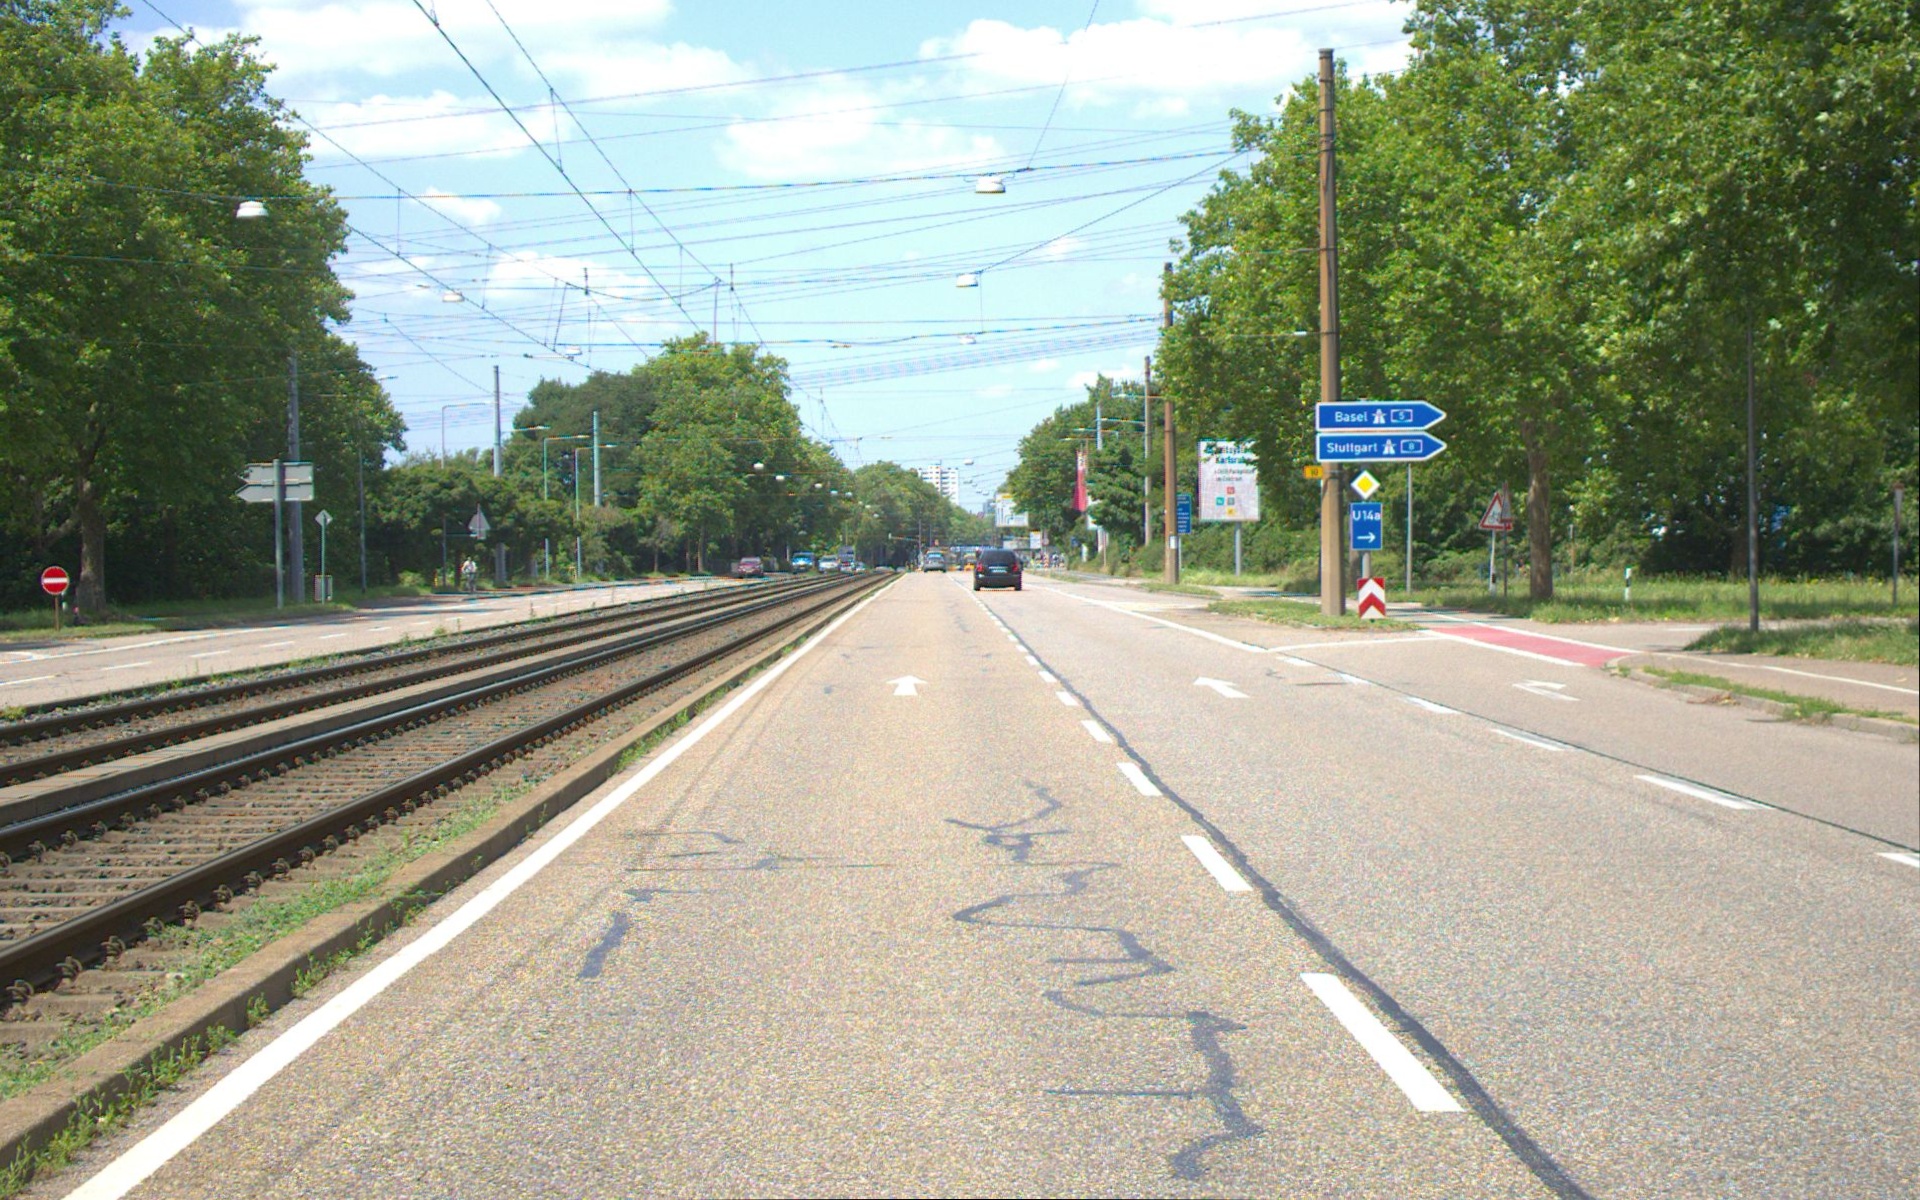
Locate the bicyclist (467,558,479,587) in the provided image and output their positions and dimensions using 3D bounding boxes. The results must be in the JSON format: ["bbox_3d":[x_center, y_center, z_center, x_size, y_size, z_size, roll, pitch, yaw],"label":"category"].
[{"bbox_3d":[-21.063,-1.192,148.639,0.454,1.268,0.398,-1,1,2],"label":"bicyclist"}]

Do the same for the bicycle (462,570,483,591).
[{"bbox_3d":[-21.080,-0.834,148.575,0.515,0.854,1.931,-2,1,3],"label":"bicycle"}]

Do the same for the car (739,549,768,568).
[{"bbox_3d":[-15.302,-3.071,254.757,1.875,1.327,3.918,-2,1,0],"label":"car"}]

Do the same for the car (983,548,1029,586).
[{"bbox_3d":[1.712,-1.250,129.002,1.586,1.338,3.273,-1,2,-2],"label":"car"}]
